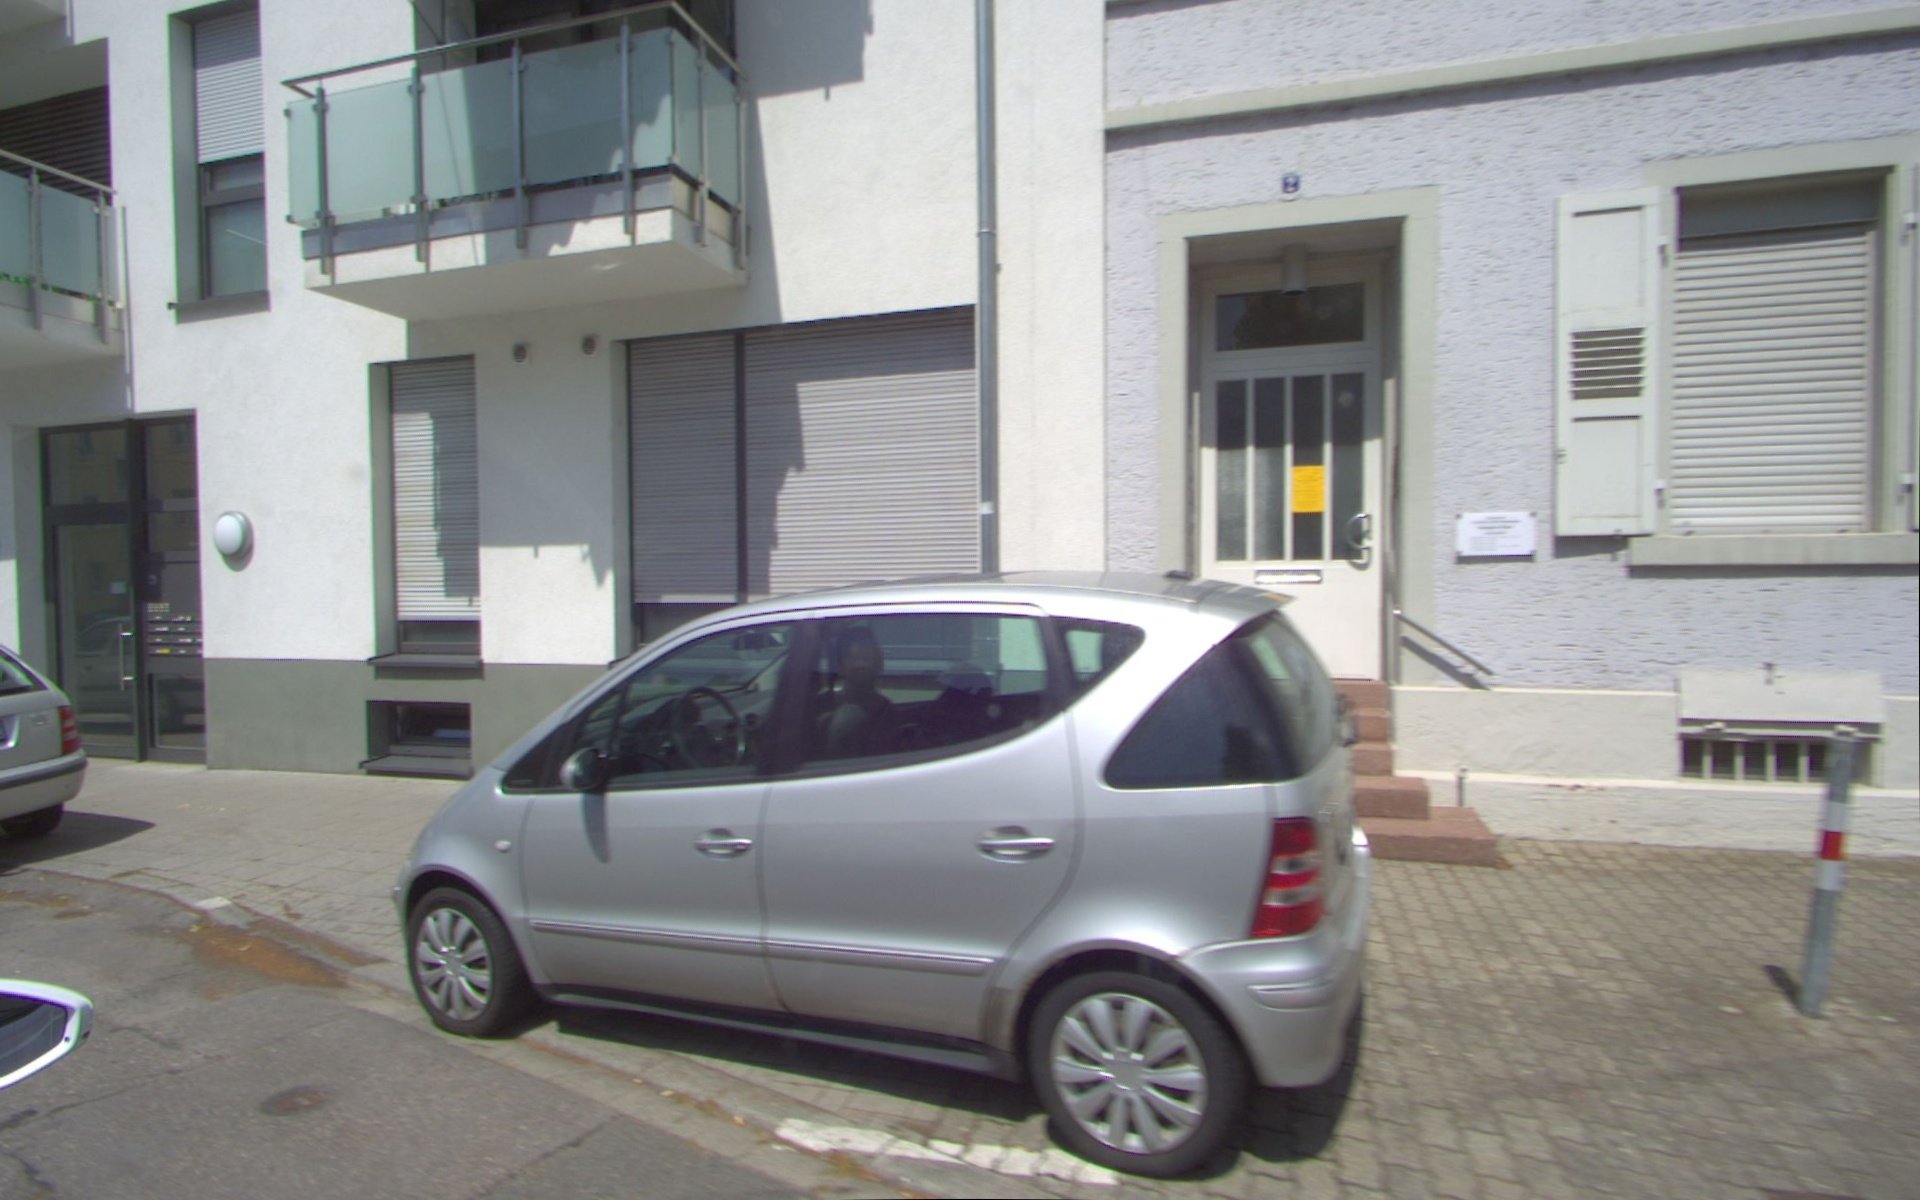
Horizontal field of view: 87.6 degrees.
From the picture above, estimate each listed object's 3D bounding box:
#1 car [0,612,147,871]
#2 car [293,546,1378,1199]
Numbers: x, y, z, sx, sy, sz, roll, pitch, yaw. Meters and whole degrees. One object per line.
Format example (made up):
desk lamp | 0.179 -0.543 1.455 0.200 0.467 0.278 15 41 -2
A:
car | -7.485 0.877 6.401 3.973 1.453 1.726 -1 4 21
car | -0.444 0.695 3.839 3.738 1.633 1.726 -1 2 24
